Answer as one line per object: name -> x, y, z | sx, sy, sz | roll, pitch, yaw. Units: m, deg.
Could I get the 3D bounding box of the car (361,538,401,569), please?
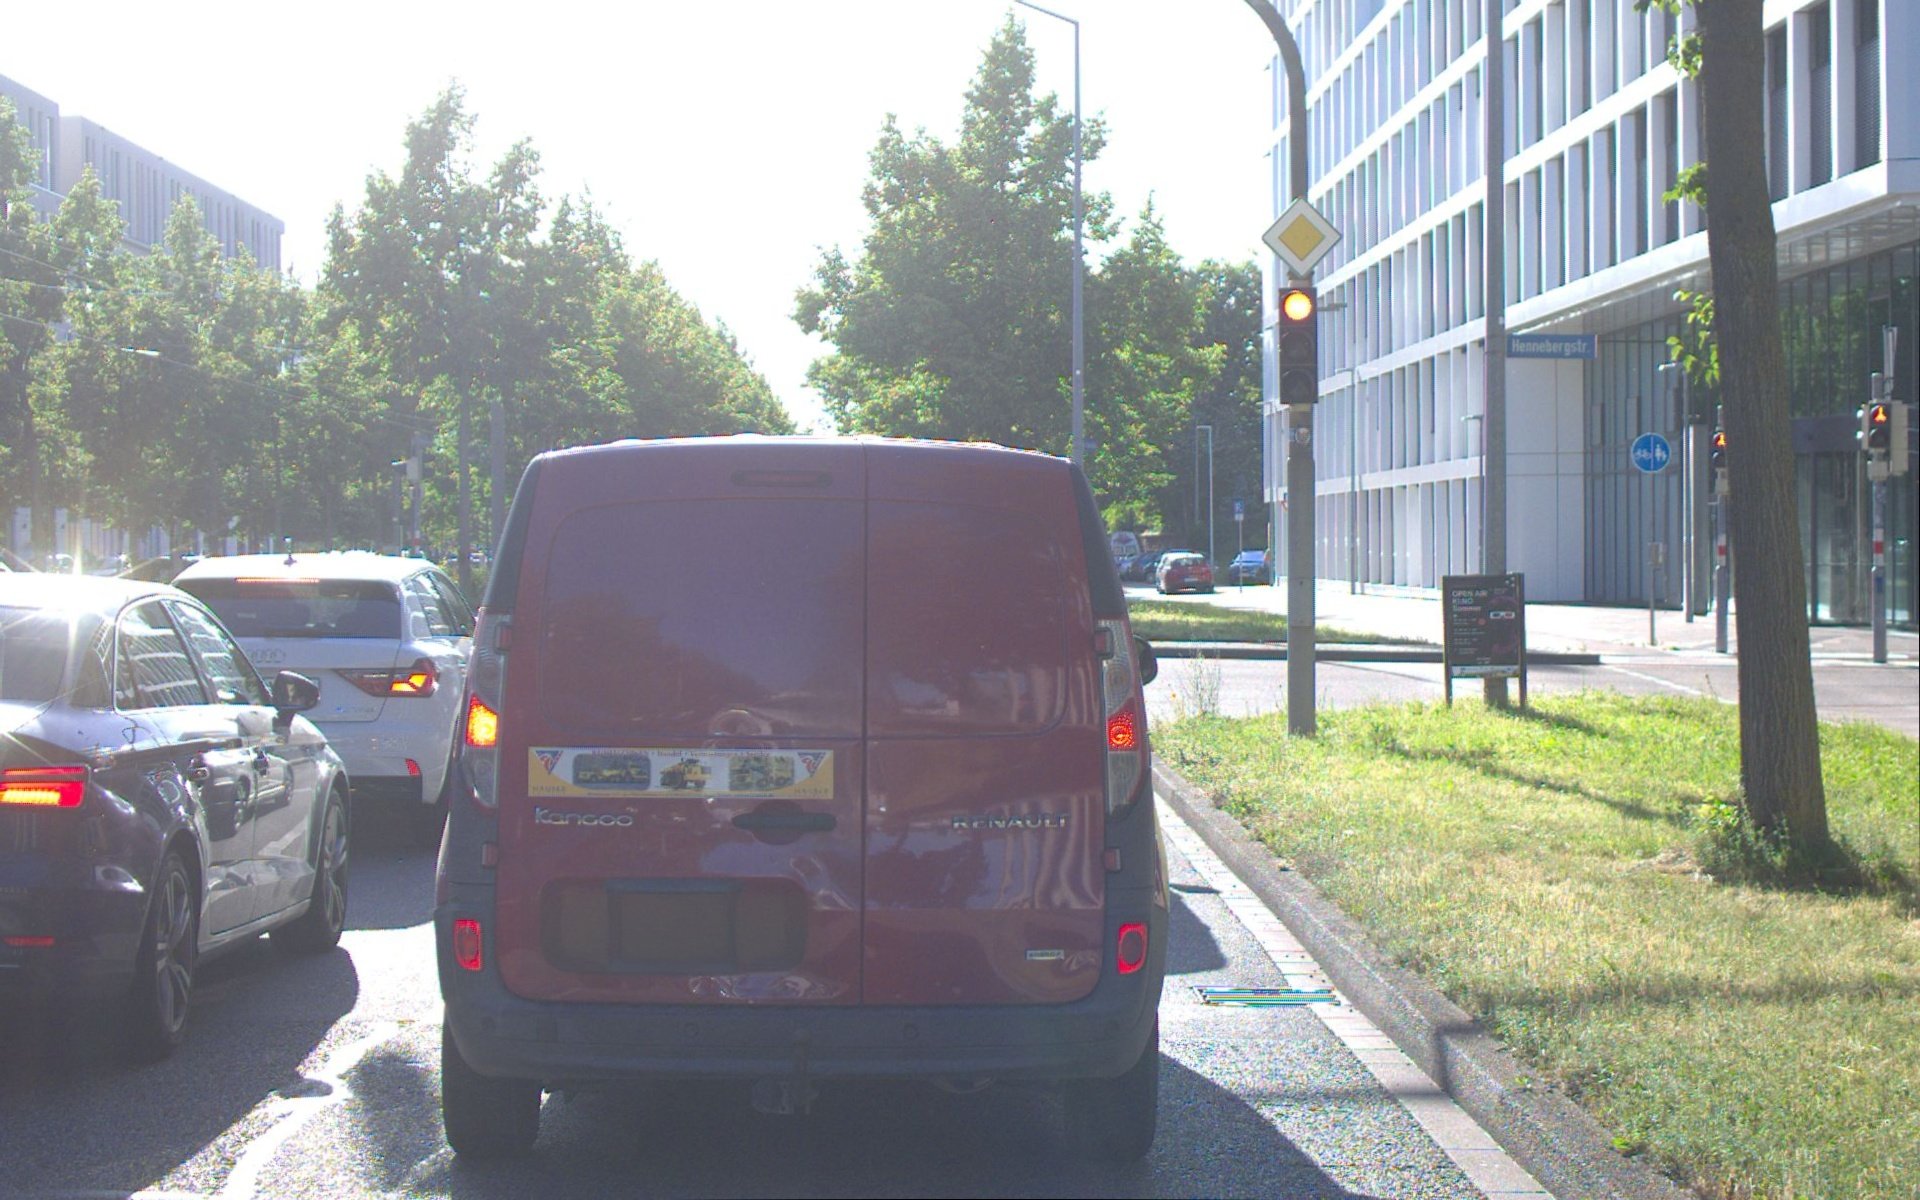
car -> -37.600, -3.019, 223.265 | 1.993, 2.007, 4.000 | 0, 1, -1

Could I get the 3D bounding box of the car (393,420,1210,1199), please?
car -> -0.382, 0.443, 9.769 | 1.842, 1.774, 4.000 | 0, 1, -1

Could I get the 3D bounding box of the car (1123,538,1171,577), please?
car -> 8.745, -2.001, 161.025 | 1.993, 1.776, 4.000 | 0, 1, -1

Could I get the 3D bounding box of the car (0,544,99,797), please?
car -> -6.642, 0.387, 20.996 | 1.799, 1.478, 4.569 | 3, 1, -3

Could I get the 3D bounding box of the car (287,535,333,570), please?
car -> -37.725, -2.751, 199.623 | 1.993, 2.007, 4.000 | 0, 1, -1

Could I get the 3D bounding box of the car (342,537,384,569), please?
car -> -37.810, -2.961, 217.641 | 1.993, 2.007, 4.000 | 0, 1, -1

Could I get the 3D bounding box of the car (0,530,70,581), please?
car -> -36.934, -1.782, 136.896 | 1.993, 2.007, 4.000 | 0, 1, -1

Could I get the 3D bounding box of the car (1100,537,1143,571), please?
car -> 8.442, -2.431, 180.223 | 1.993, 1.776, 4.000 | 0, 1, -1

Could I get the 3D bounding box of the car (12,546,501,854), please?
car -> -3.537, 0.435, 17.971 | 1.803, 1.421, 3.901 | 0, 1, -1

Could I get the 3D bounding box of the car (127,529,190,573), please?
car -> -37.006, -2.256, 158.823 | 1.993, 2.007, 4.000 | 0, 1, -1

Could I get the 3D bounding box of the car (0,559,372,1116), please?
car -> -3.171, 0.596, 11.138 | 1.842, 1.421, 4.339 | 0, 1, -1

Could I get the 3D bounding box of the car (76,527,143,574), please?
car -> -37.017, -2.152, 149.722 | 1.993, 2.007, 4.000 | 0, 1, -1

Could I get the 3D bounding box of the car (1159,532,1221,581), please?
car -> 8.546, -1.629, 128.234 | 1.993, 1.776, 4.000 | 0, 1, -1

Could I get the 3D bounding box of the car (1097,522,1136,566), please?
car -> 9.023, -3.262, 198.732 | 1.993, 2.488, 4.987 | 0, 1, -1

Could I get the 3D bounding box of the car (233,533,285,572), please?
car -> -37.272, -2.541, 182.809 | 1.993, 2.007, 4.000 | 0, 1, -1
